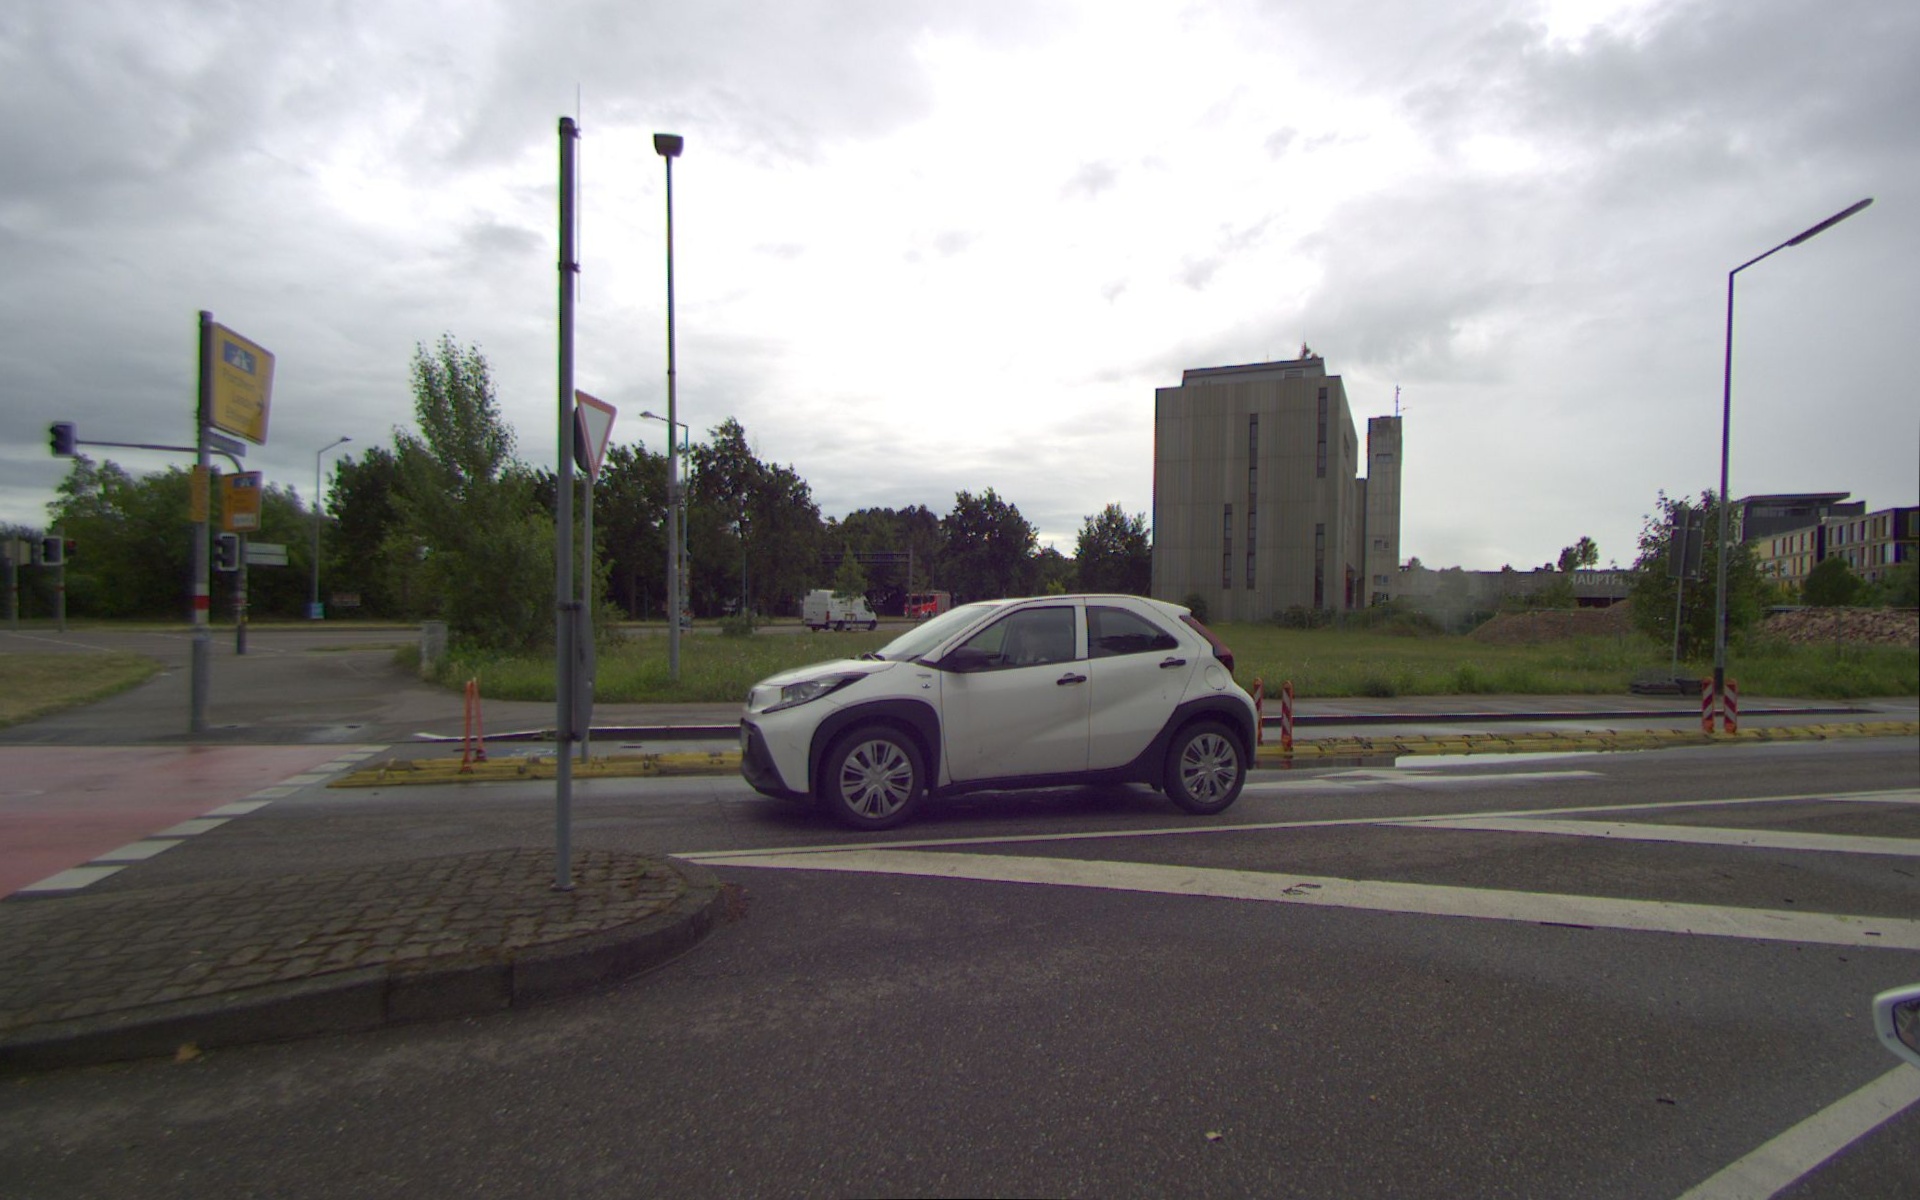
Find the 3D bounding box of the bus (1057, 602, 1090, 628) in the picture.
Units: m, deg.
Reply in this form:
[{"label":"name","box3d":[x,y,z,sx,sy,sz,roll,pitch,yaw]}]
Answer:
[{"label":"bus","box3d":[18.351,2.334,162.131,2.681,4.035,9.887,0,0,22]}]

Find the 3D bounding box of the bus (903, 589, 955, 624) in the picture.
[{"label":"bus","box3d":[-3.330,0.700,111.303,2.681,3.697,8.396,0,0,22]}]

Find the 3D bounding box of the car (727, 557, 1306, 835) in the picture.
[{"label":"car","box3d":[0.361,0.641,7.312,3.841,1.608,1.749,2,-3,-19]}]

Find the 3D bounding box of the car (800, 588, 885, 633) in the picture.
[{"label":"car","box3d":[-7.466,0.638,64.616,2.352,2.740,6.568,0,0,25]}]
